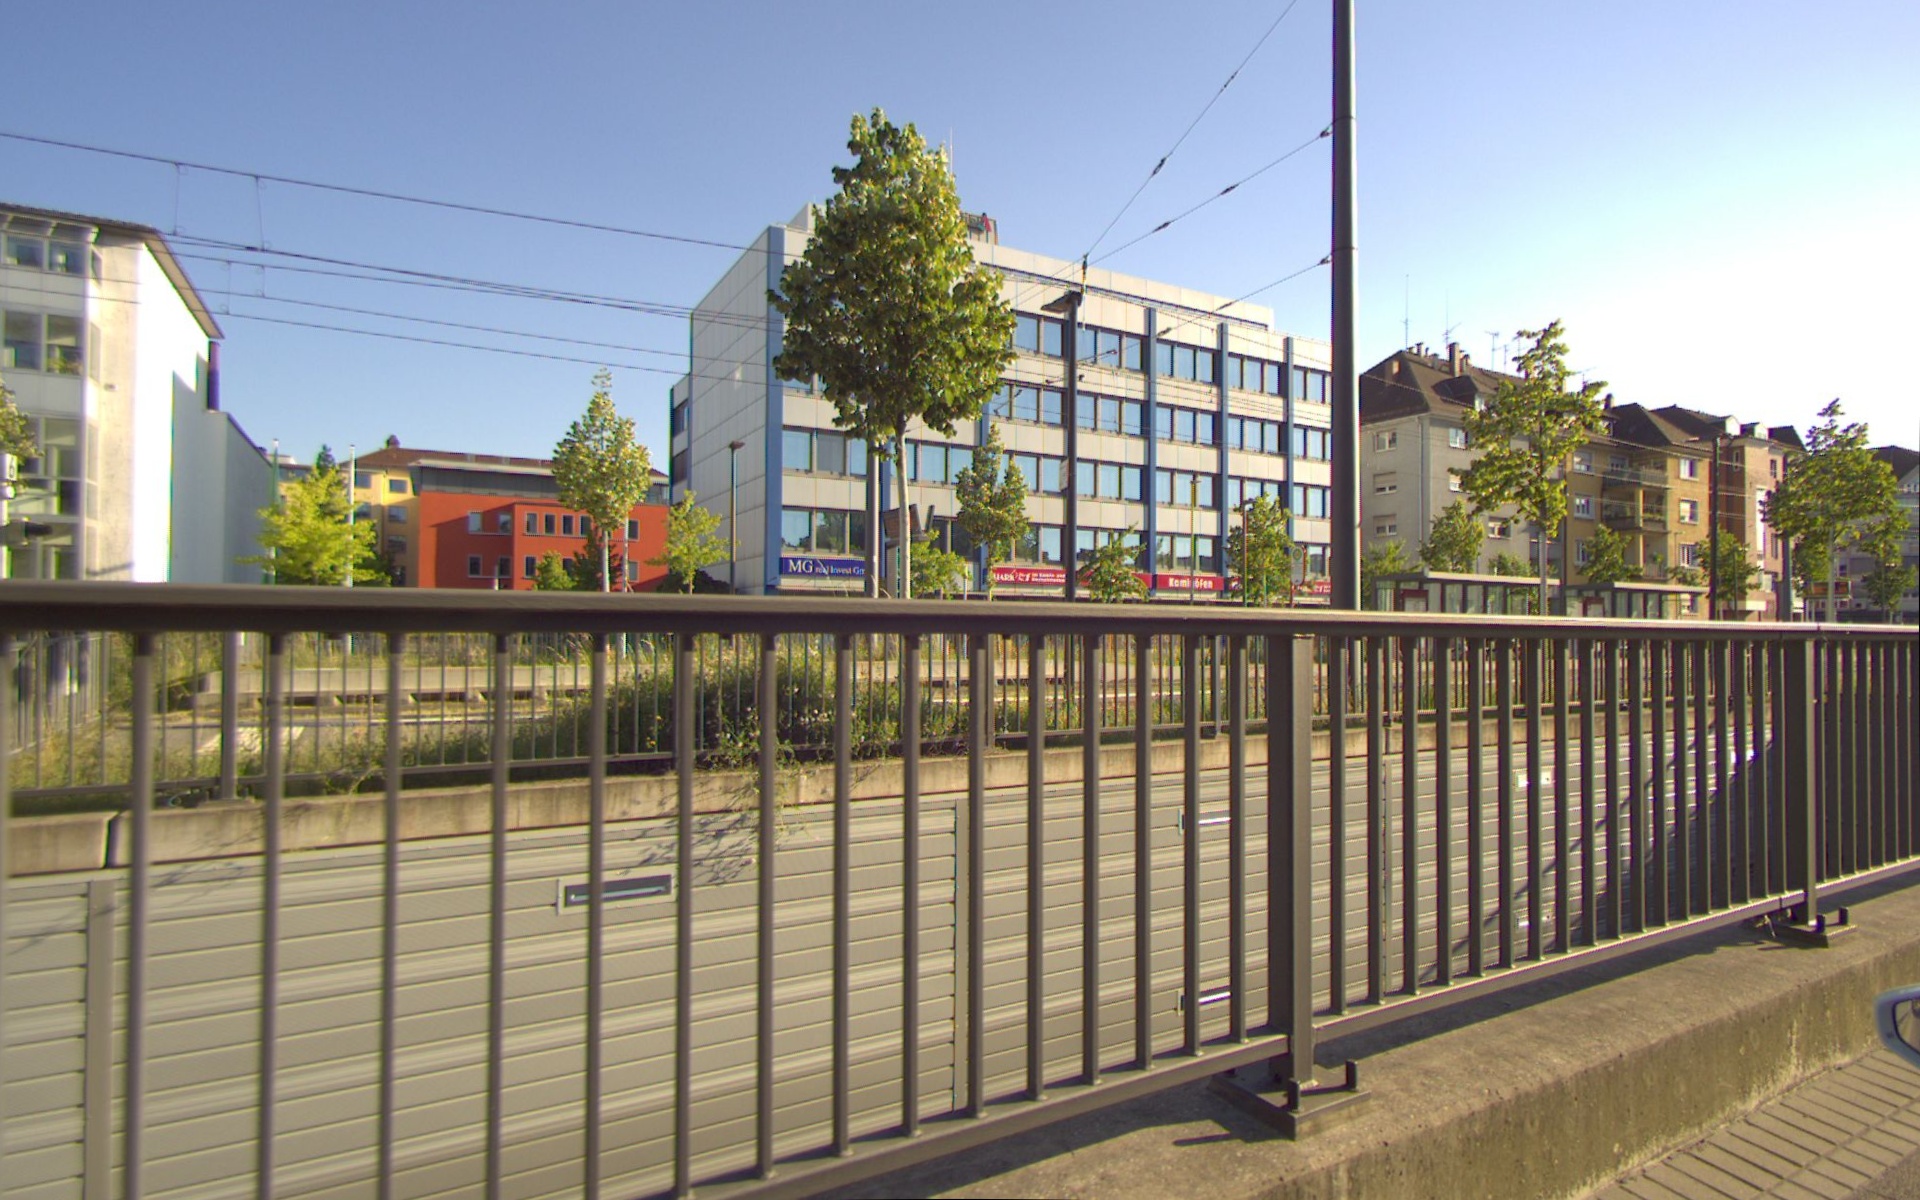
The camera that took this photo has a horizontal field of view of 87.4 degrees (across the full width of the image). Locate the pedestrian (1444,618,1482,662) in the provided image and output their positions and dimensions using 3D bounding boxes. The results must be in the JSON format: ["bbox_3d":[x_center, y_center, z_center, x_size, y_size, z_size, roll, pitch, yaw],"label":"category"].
[{"bbox_3d":[16.672,1.324,33.306,0.794,1.429,0.834,1,-2,-30],"label":"pedestrian"}]

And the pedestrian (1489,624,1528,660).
[{"bbox_3d":[18.874,1.447,34.573,0.755,1.213,0.929,1,-2,-30],"label":"pedestrian"}]

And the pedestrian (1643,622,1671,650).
[{"bbox_3d":[27.321,1.411,39.356,0.785,1.061,0.624,1,-2,-30],"label":"pedestrian"}]
